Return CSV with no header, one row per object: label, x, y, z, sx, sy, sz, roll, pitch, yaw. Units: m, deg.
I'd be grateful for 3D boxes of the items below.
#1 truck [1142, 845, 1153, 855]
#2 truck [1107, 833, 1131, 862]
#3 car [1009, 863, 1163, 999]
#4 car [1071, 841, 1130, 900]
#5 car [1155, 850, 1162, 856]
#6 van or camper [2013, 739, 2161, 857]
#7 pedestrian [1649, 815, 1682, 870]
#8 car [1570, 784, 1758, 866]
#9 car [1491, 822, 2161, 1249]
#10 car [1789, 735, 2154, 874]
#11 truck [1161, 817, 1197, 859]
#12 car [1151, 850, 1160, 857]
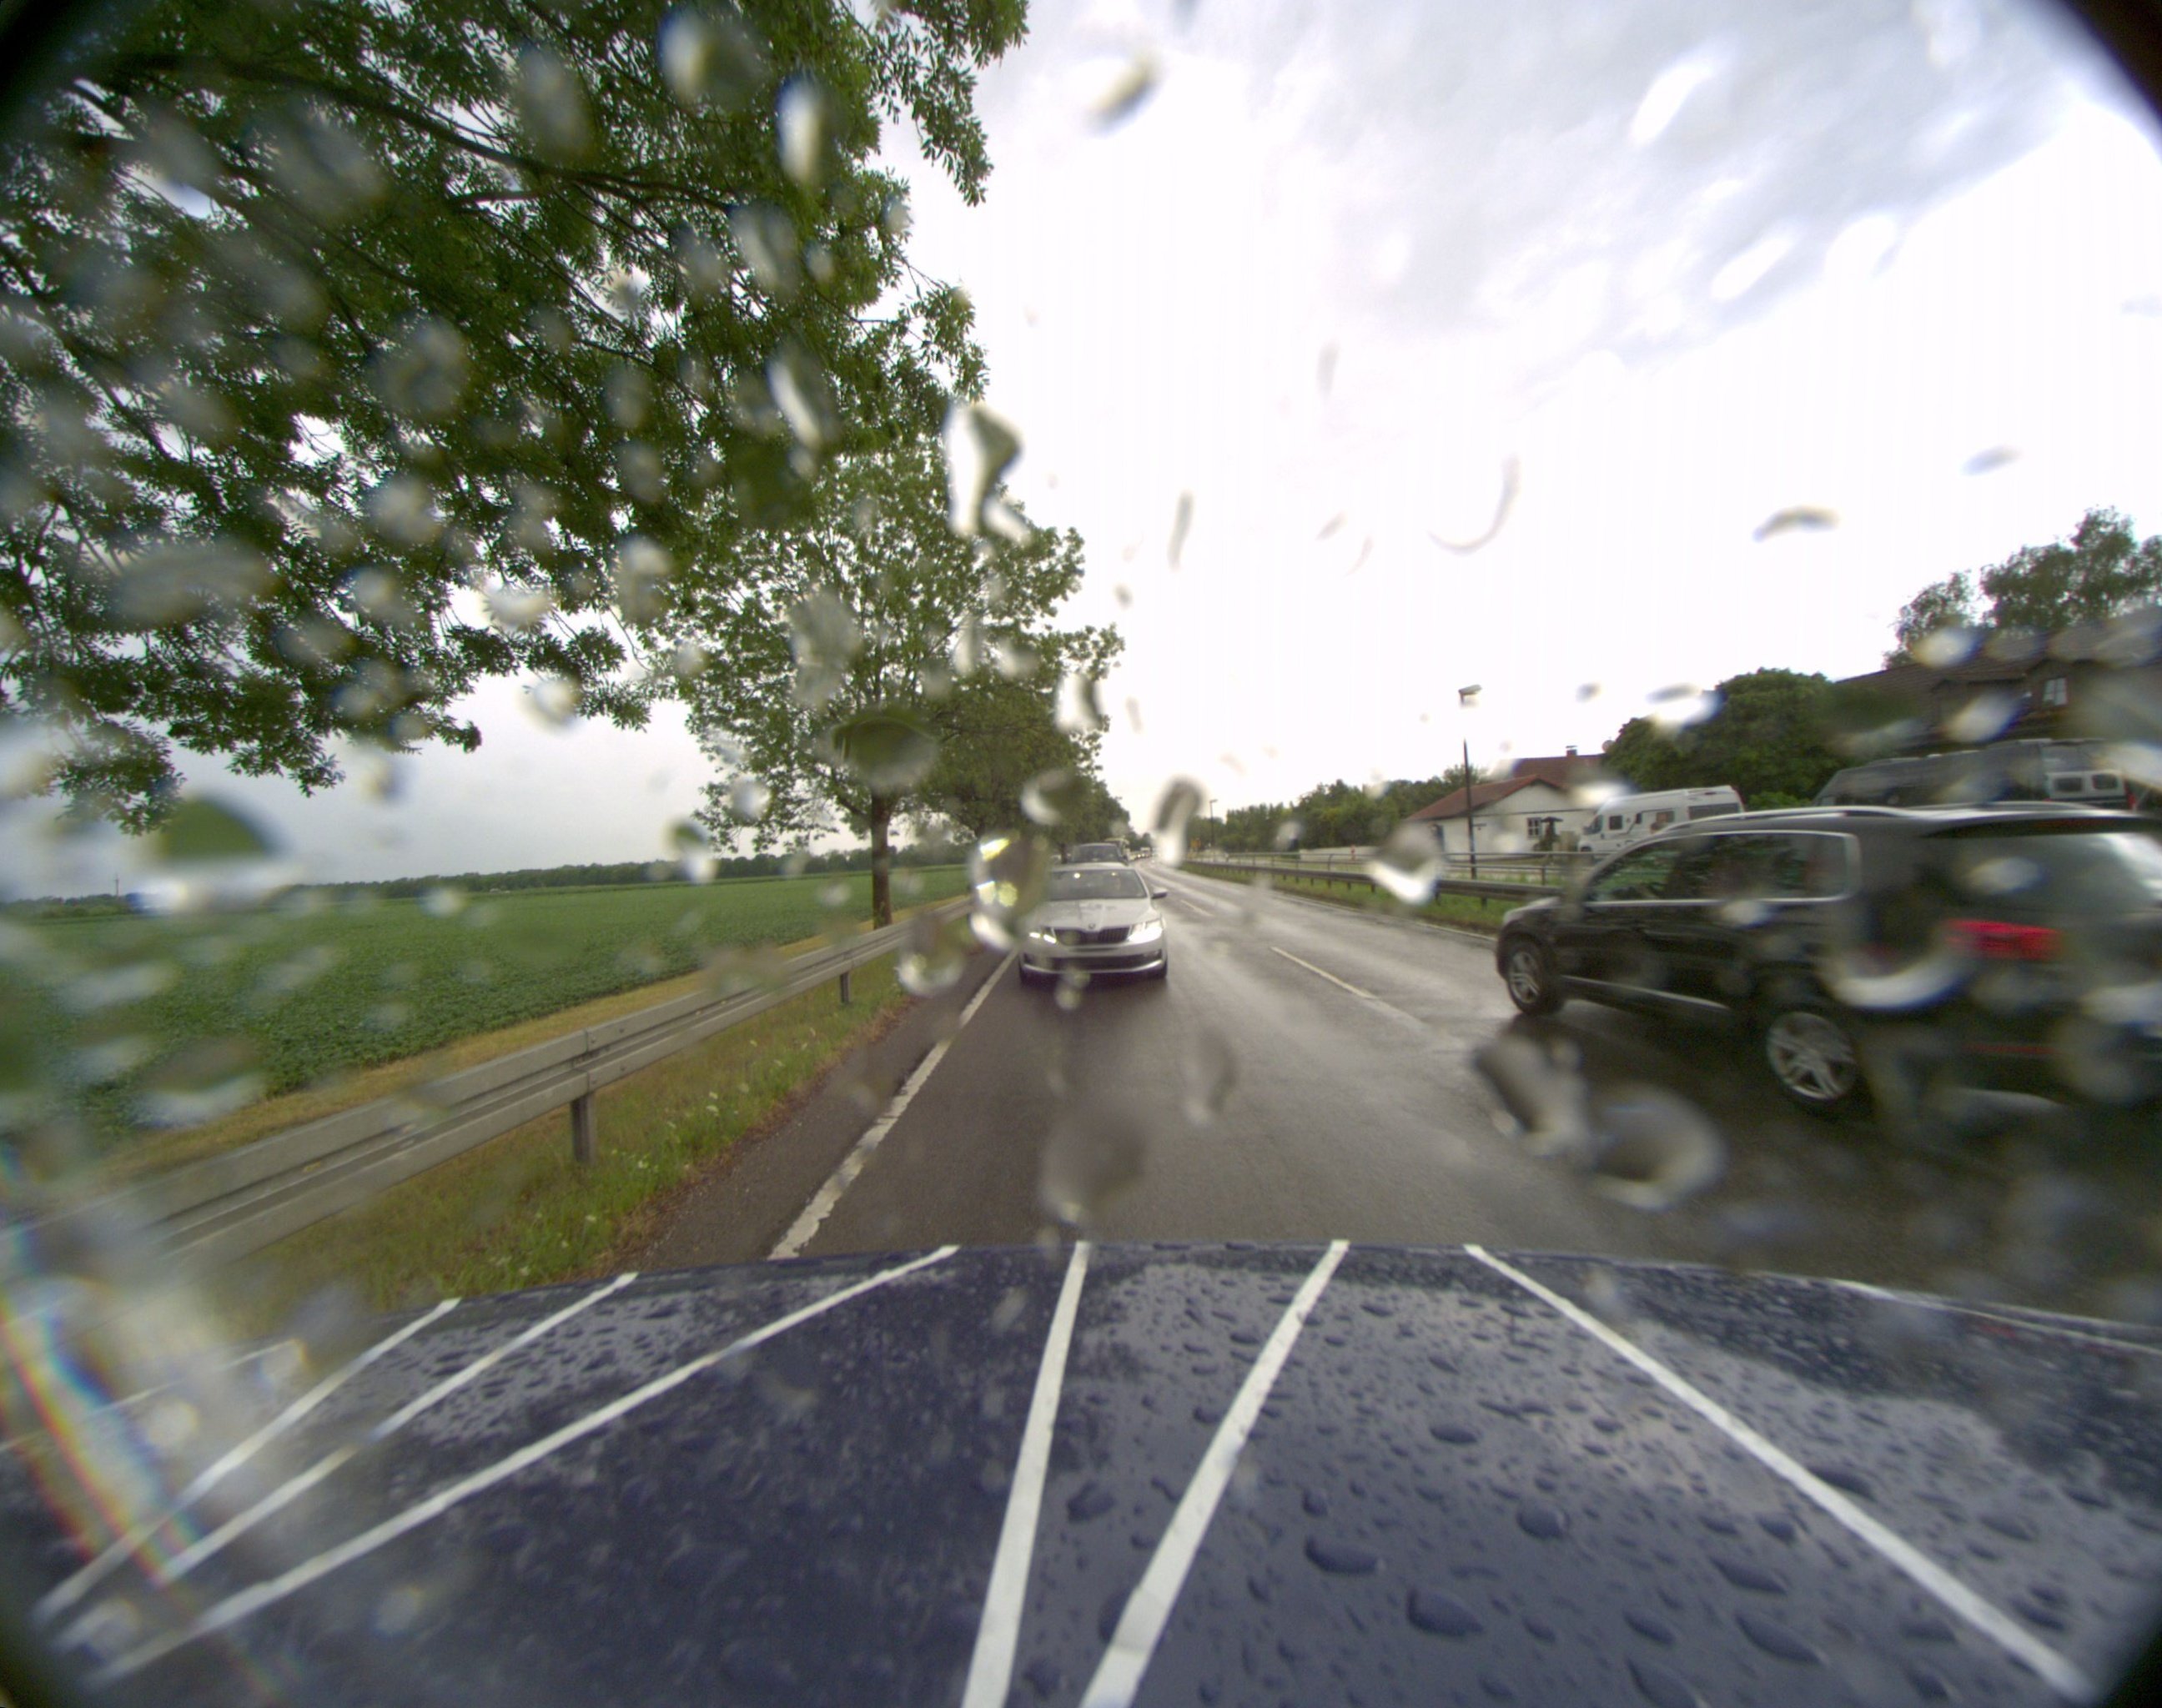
truck,18.440,-1.053,211.428,2.800,2.461,7.169,-3,0,4
truck,4.983,-0.847,101.280,2.751,3.547,8.387,-3,0,2
car,0.067,0.897,10.601,1.705,1.438,4.000,-1,0,0
car,0.657,0.539,26.814,1.903,1.884,4.000,-1,0,0
car,24.603,-0.280,241.678,1.811,1.723,4.027,-3,0,3
van or camper,28.376,-1.526,19.417,6.069,2.785,2.434,-4,0,-1
pedestrian,18.502,-0.354,24.048,0.516,1.701,0.650,-3,1,9
car,21.040,-0.960,27.909,2.243,2.565,6.019,-4,0,1
car,4.619,0.669,4.888,1.768,1.610,4.000,-2,0,0
car,21.250,-1.045,18.708,2.389,2.747,5.573,-4,0,1
truck,12.542,-2.033,98.054,3.257,5.004,7.783,-4,0,0
car,22.412,-0.155,228.779,1.998,2.002,4.100,-4,0,1
